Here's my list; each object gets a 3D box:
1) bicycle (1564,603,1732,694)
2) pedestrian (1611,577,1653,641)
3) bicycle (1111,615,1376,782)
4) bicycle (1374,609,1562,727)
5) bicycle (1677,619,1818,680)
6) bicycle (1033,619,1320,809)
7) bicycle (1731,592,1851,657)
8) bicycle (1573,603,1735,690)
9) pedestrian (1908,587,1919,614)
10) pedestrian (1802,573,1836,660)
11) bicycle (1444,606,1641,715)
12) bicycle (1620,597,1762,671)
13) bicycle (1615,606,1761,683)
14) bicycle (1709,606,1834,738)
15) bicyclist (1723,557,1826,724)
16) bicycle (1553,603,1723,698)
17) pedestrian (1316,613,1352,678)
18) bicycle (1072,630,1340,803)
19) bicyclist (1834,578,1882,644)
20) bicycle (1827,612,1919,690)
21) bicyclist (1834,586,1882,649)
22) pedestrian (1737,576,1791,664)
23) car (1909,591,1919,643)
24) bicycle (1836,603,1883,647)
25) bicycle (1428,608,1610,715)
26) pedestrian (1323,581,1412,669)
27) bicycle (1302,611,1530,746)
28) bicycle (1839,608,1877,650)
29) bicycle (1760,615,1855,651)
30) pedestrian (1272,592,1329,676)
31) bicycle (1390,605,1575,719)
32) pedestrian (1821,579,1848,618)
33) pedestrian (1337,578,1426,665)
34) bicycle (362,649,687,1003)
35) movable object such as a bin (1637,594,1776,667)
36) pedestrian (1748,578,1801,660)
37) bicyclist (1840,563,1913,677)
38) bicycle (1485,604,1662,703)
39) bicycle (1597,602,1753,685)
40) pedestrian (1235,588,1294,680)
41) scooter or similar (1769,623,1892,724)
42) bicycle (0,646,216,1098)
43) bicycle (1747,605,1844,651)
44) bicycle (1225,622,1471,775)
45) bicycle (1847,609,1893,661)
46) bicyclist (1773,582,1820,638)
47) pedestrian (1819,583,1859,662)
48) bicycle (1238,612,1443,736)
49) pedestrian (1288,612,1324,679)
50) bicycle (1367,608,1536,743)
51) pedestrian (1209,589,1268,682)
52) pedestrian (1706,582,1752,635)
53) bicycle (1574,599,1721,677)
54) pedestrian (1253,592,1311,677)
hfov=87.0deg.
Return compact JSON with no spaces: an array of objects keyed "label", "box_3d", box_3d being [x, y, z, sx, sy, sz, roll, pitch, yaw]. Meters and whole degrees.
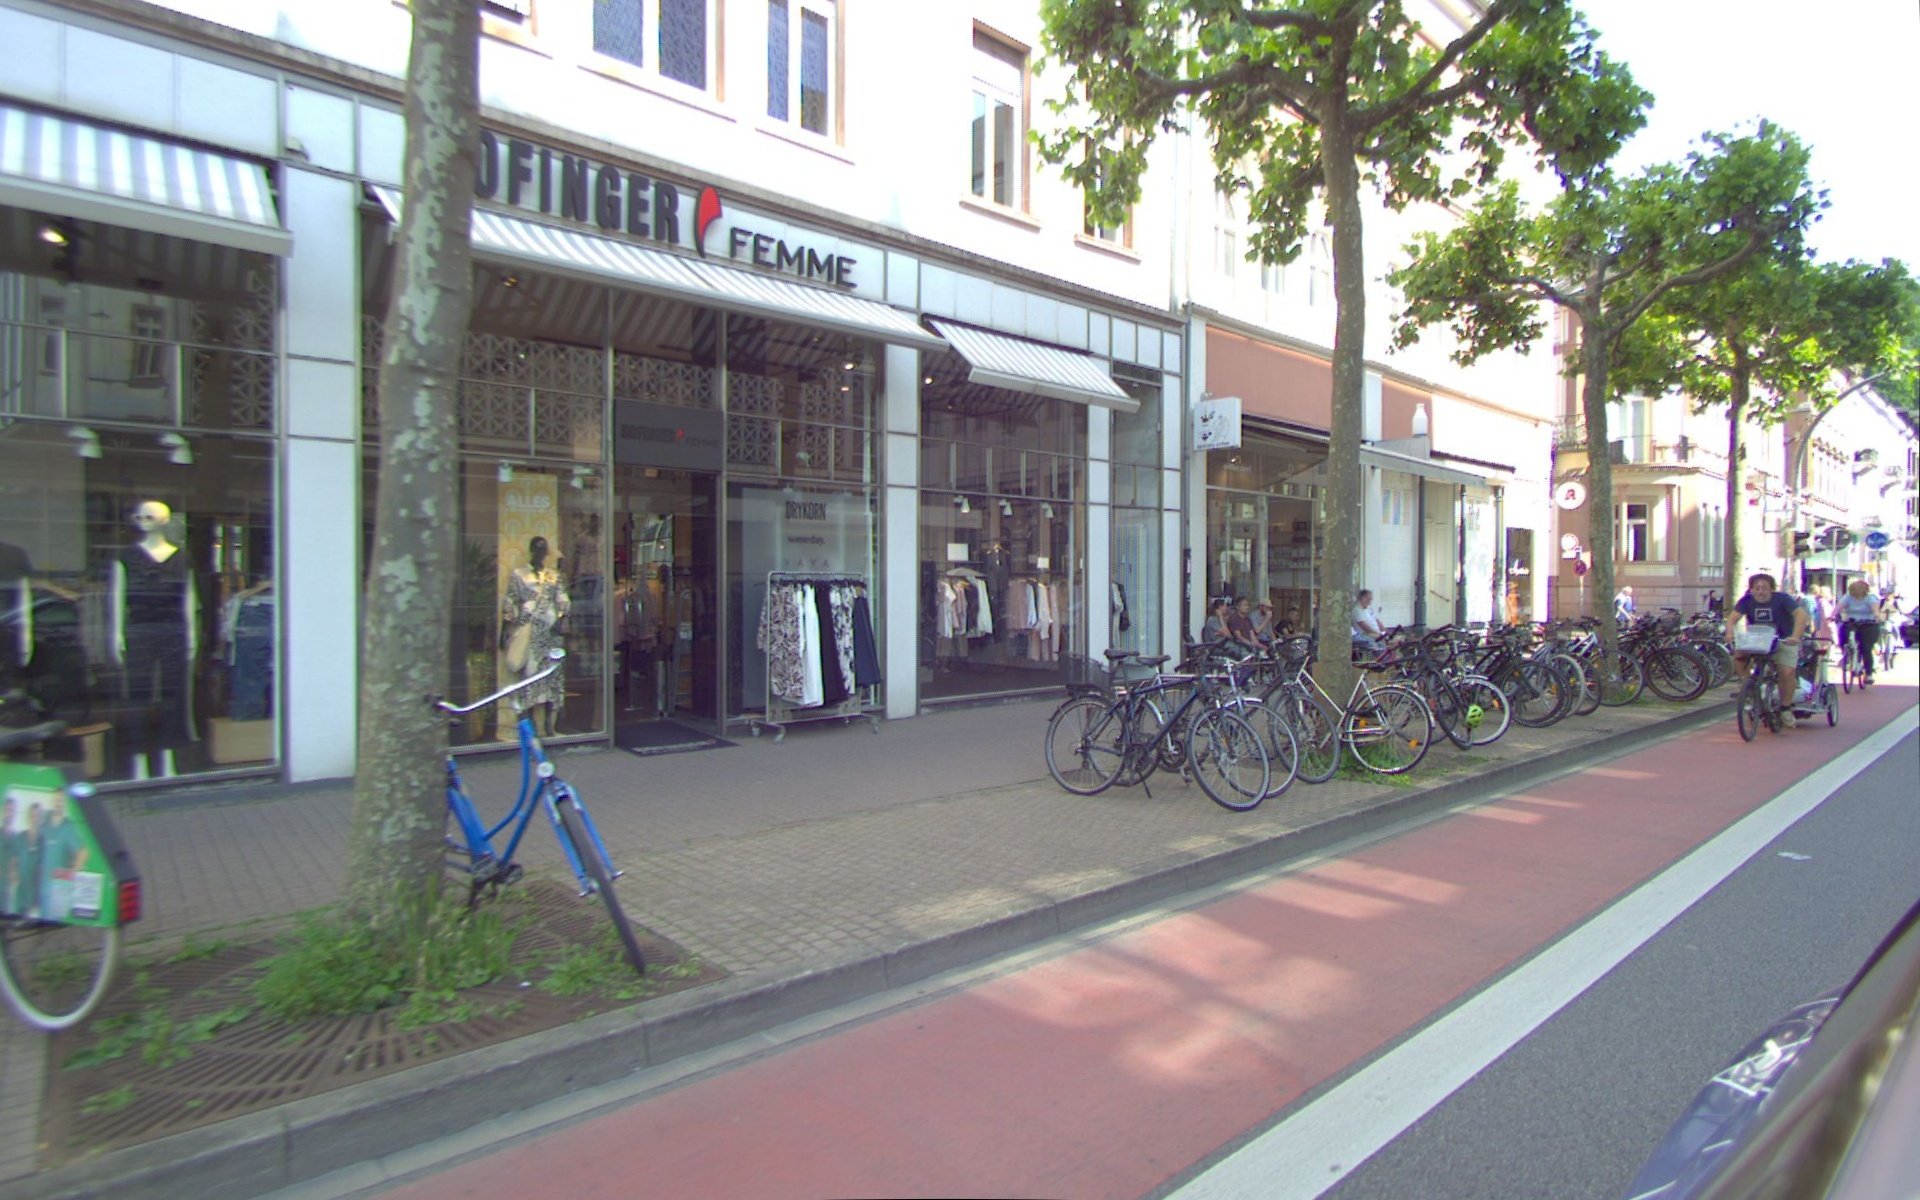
[{"label":"bicycle","box_3d":[9.565,0.637,14.133,0.654,1.141,1.844,-1,2,-39]},{"label":"pedestrian","box_3d":[18.040,0.250,27.182,0.774,1.679,0.642,2,-1,-29]},{"label":"bicycle","box_3d":[2.208,0.731,8.004,1.834,1.141,0.756,-3,0,37]},{"label":"bicycle","box_3d":[5.541,0.701,11.149,0.440,1.141,1.845,-2,2,-38]},{"label":"bicycle","box_3d":[14.192,0.908,18.272,1.018,0.395,1.854,-45,19,-33]},{"label":"bicycle","box_3d":[1.452,0.729,7.011,1.836,1.141,0.623,-3,-1,39]},{"label":"bicycle","box_3d":[16.306,0.506,19.927,0.702,1.204,1.857,1,-3,-3]},{"label":"bicycle","box_3d":[10.080,0.640,14.760,0.654,1.141,1.844,-1,2,-39]},{"label":"pedestrian","box_3d":[62.185,0.025,65.980,0.853,1.689,0.482,0,1,-42]},{"label":"pedestrian","box_3d":[18.248,0.347,21.500,0.598,1.818,0.452,0,-2,-44]},{"label":"bicycle","box_3d":[7.051,0.686,12.365,0.746,1.141,1.995,-1,2,-28]},{"label":"bicycle","box_3d":[12.413,0.544,17.243,0.654,1.141,1.847,-1,1,-34]},{"label":"bicycle","box_3d":[11.904,0.700,16.594,0.654,1.141,1.844,-1,2,-39]},{"label":"bicycle","box_3d":[8.755,0.717,10.882,2.243,1.285,0.732,1,-1,-43]},{"label":"bicyclist","box_3d":[8.712,0.399,10.829,0.761,1.694,0.732,-1,2,-42]},{"label":"bicycle","box_3d":[9.089,0.642,13.638,0.520,1.141,1.844,-2,2,-39]},{"label":"pedestrian","box_3d":[5.780,0.691,15.639,0.429,0.980,0.365,0,0,-40]},{"label":"bicycle","box_3d":[1.754,0.785,7.413,1.836,1.107,0.557,-1,-1,39]},{"label":"bicyclist","box_3d":[24.056,0.277,27.111,0.830,1.738,0.840,-1,2,-41]},{"label":"bicycle","box_3d":[14.391,0.769,15.898,1.995,1.141,0.737,0,-1,-37]},{"label":"bicyclist","box_3d":[25.855,0.481,29.130,0.830,1.738,0.909,-1,2,-41]},{"label":"pedestrian","box_3d":[16.909,0.413,21.294,0.630,1.818,0.788,0,-1,-43]},{"label":"car","box_3d":[30.247,0.454,30.423,3.659,1.497,1.635,-2,1,-33]},{"label":"bicycle","box_3d":[24.369,0.677,27.399,1.956,1.132,0.663,2,0,-40]},{"label":"bicycle","box_3d":[6.518,0.682,11.909,0.519,1.141,1.848,-1,-1,-28]},{"label":"pedestrian","box_3d":[7.078,0.401,17.597,0.777,1.440,1.234,-2,2,-43]},{"label":"bicycle","box_3d":[4.125,0.689,9.278,1.818,1.141,0.592,0,1,14]},{"label":"bicycle","box_3d":[25.734,0.810,29.010,0.745,1.132,1.890,-1,0,40]},{"label":"bicycle","box_3d":[21.928,0.839,26.208,0.492,0.855,1.825,0,0,-40]},{"label":"pedestrian","box_3d":[5.452,0.531,16.203,0.599,1.268,0.640,-2,3,-43]},{"label":"bicycle","box_3d":[5.865,0.653,11.462,0.440,1.141,1.845,-2,2,-38]},{"label":"pedestrian","box_3d":[41.184,-0.072,47.640,0.754,1.813,0.840,-1,2,-41]},{"label":"pedestrian","box_3d":[7.608,0.368,18.281,0.823,1.502,1.253,-1,1,-43]},{"label":"bicycle","box_3d":[-1.844,0.780,4.131,1.838,1.141,0.490,-3,-3,42]},{"label":"movable object such as a bin","box_3d":[13.039,0.530,17.743,0.639,1.204,1.859,0,-1,-26]},{"label":"pedestrian","box_3d":[17.543,0.397,21.797,0.630,1.712,0.788,0,-1,-43]},{"label":"bicyclist","box_3d":[14.472,0.304,15.983,0.829,1.739,0.685,-1,0,-36]},{"label":"bicycle","box_3d":[7.891,0.642,13.089,0.667,1.141,1.844,-2,2,-39]},{"label":"bicycle","box_3d":[10.861,0.630,15.429,0.632,1.141,1.844,-1,2,-39]},{"label":"pedestrian","box_3d":[4.641,0.497,15.424,0.523,1.355,0.682,0,0,-43]},{"label":"scooter or similar","box_3d":[10.111,0.819,11.756,1.104,1.074,0.786,-1,-1,-33]},{"label":"bicycle","box_3d":[-3.378,0.780,3.409,1.759,1.212,0.573,-1,0,22]},{"label":"bicycle","box_3d":[21.809,0.711,26.453,0.654,1.141,1.845,-1,0,-37]},{"label":"bicycle","box_3d":[3.146,0.748,8.375,0.555,1.107,1.843,-1,0,-40]},{"label":"bicycle","box_3d":[23.210,0.874,25.810,1.827,1.140,0.607,-4,4,-40]},{"label":"bicyclist","box_3d":[21.770,0.257,26.328,0.492,1.429,0.860,0,1,-40]},{"label":"pedestrian","box_3d":[20.105,0.493,23.151,0.777,1.730,0.639,-3,2,-44]},{"label":"bicycle","box_3d":[3.678,0.706,9.883,1.817,1.141,0.447,0,1,13]},{"label":"pedestrian","box_3d":[5.225,0.684,15.281,0.429,0.980,0.342,0,0,-40]},{"label":"bicycle","box_3d":[4.804,0.687,10.041,0.439,1.141,1.850,-1,2,-13]},{"label":"pedestrian","box_3d":[4.151,0.511,15.095,0.523,1.349,0.682,0,0,-43]},{"label":"pedestrian","box_3d":[24.899,0.249,32.796,0.892,1.630,0.971,1,4,20]},{"label":"bicycle","box_3d":[10.980,0.571,16.207,0.654,1.141,1.844,-1,2,-39]},{"label":"pedestrian","box_3d":[5.022,0.517,15.802,0.523,1.269,0.682,0,1,-43]}]
